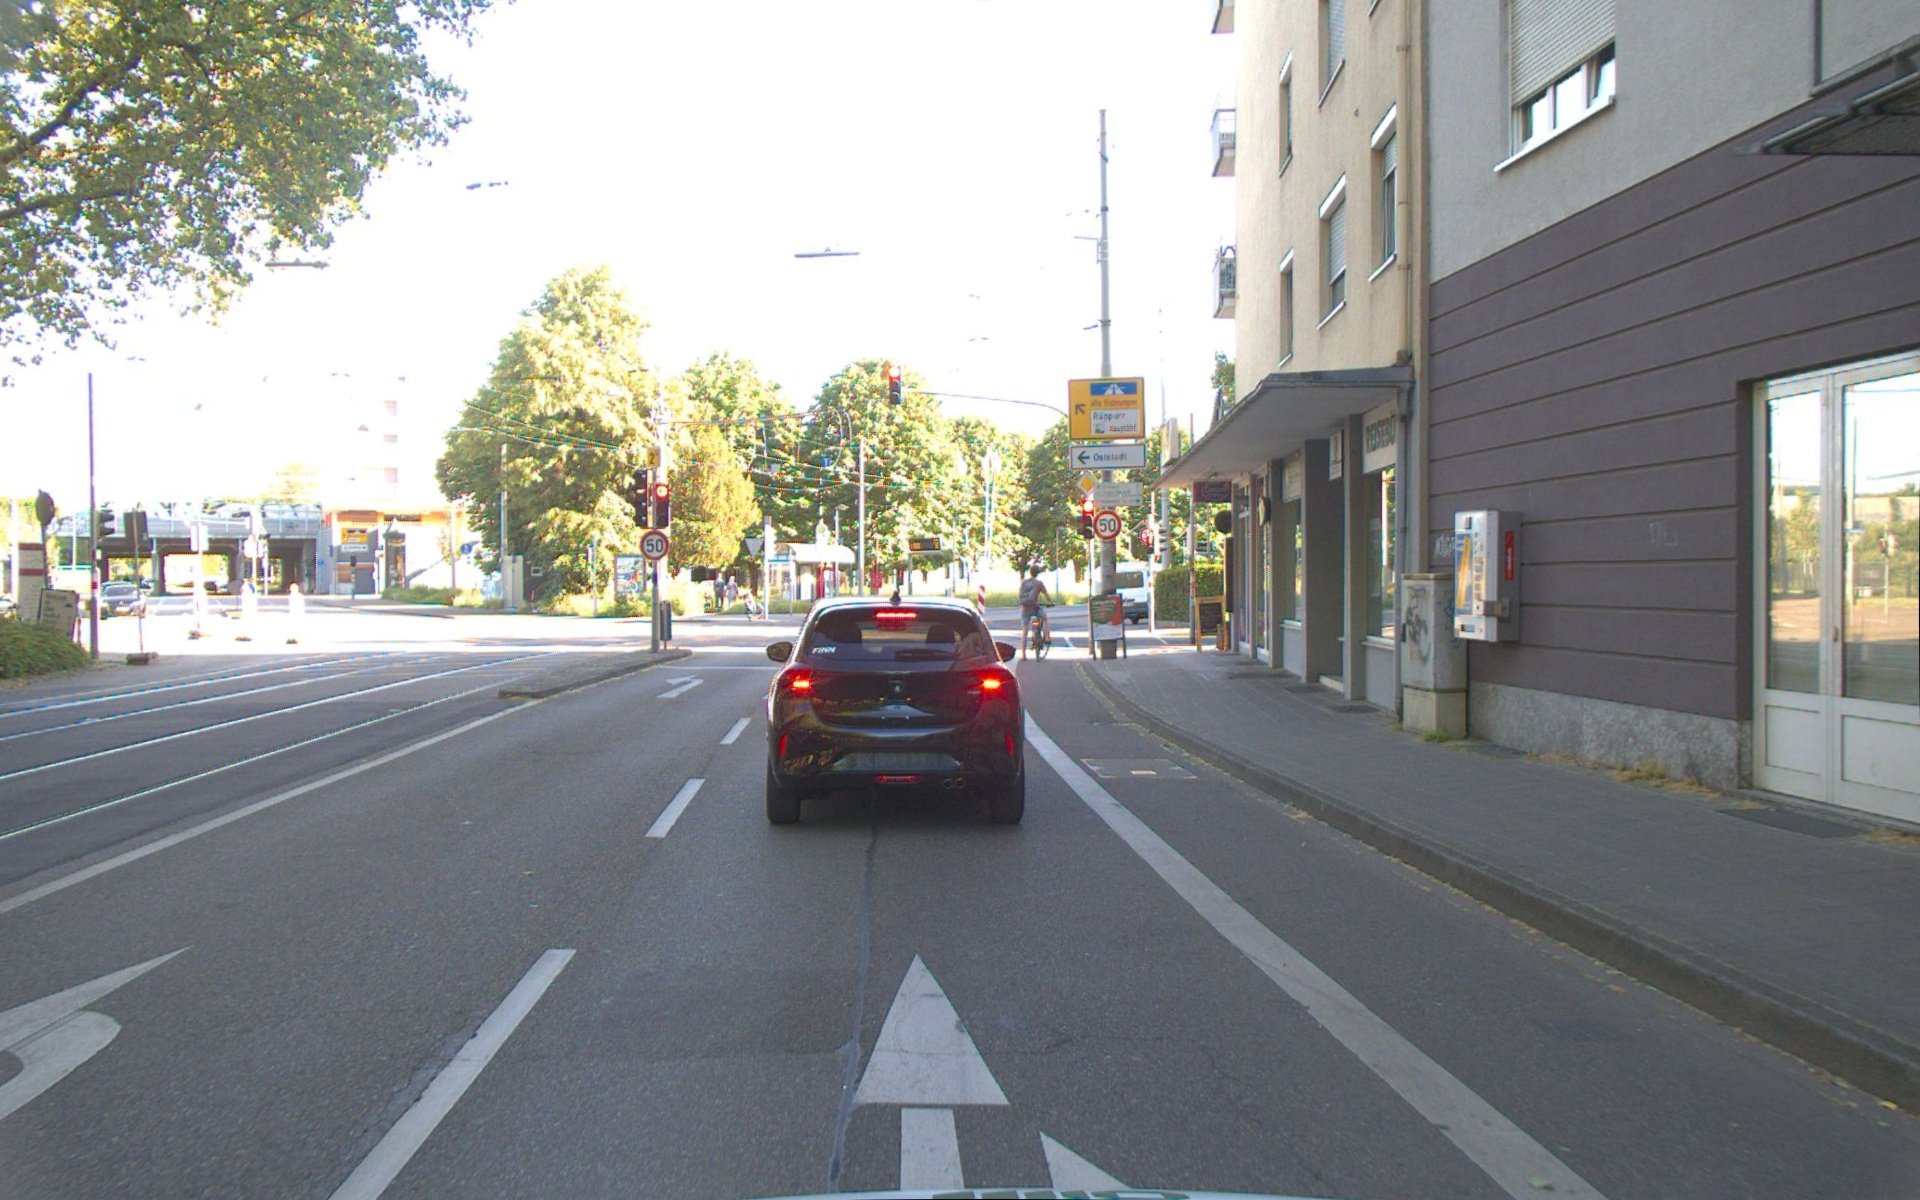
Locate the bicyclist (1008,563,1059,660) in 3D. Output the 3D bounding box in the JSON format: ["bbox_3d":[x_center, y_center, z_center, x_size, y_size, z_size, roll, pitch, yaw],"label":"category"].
[{"bbox_3d":[1.451,0.226,32.831,0.922,1.883,0.863,-1,1,-2],"label":"bicyclist"}]

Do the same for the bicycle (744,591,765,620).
[{"bbox_3d":[-7.577,0.188,61.119,0.593,1.049,1.981,-1,1,-2],"label":"bicycle"}]

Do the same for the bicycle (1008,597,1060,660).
[{"bbox_3d":[1.454,0.548,32.910,0.843,1.173,2.171,-1,1,-2],"label":"bicycle"}]

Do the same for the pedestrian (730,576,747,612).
[{"bbox_3d":[-10.305,-0.263,77.064,0.623,1.658,0.572,1,0,5],"label":"pedestrian"}]

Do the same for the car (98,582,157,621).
[{"bbox_3d":[-34.666,0.057,68.927,1.799,1.545,3.869,1,0,-22],"label":"car"}]

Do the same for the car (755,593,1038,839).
[{"bbox_3d":[-0.434,0.688,12.018,1.692,1.454,4.186,0,0,-2],"label":"car"}]

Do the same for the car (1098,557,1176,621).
[{"bbox_3d":[6.646,-0.433,61.582,2.020,2.288,4.890,0,1,16],"label":"car"}]

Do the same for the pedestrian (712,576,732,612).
[{"bbox_3d":[-11.096,-0.281,77.096,0.735,1.658,0.598,1,0,5],"label":"pedestrian"}]
